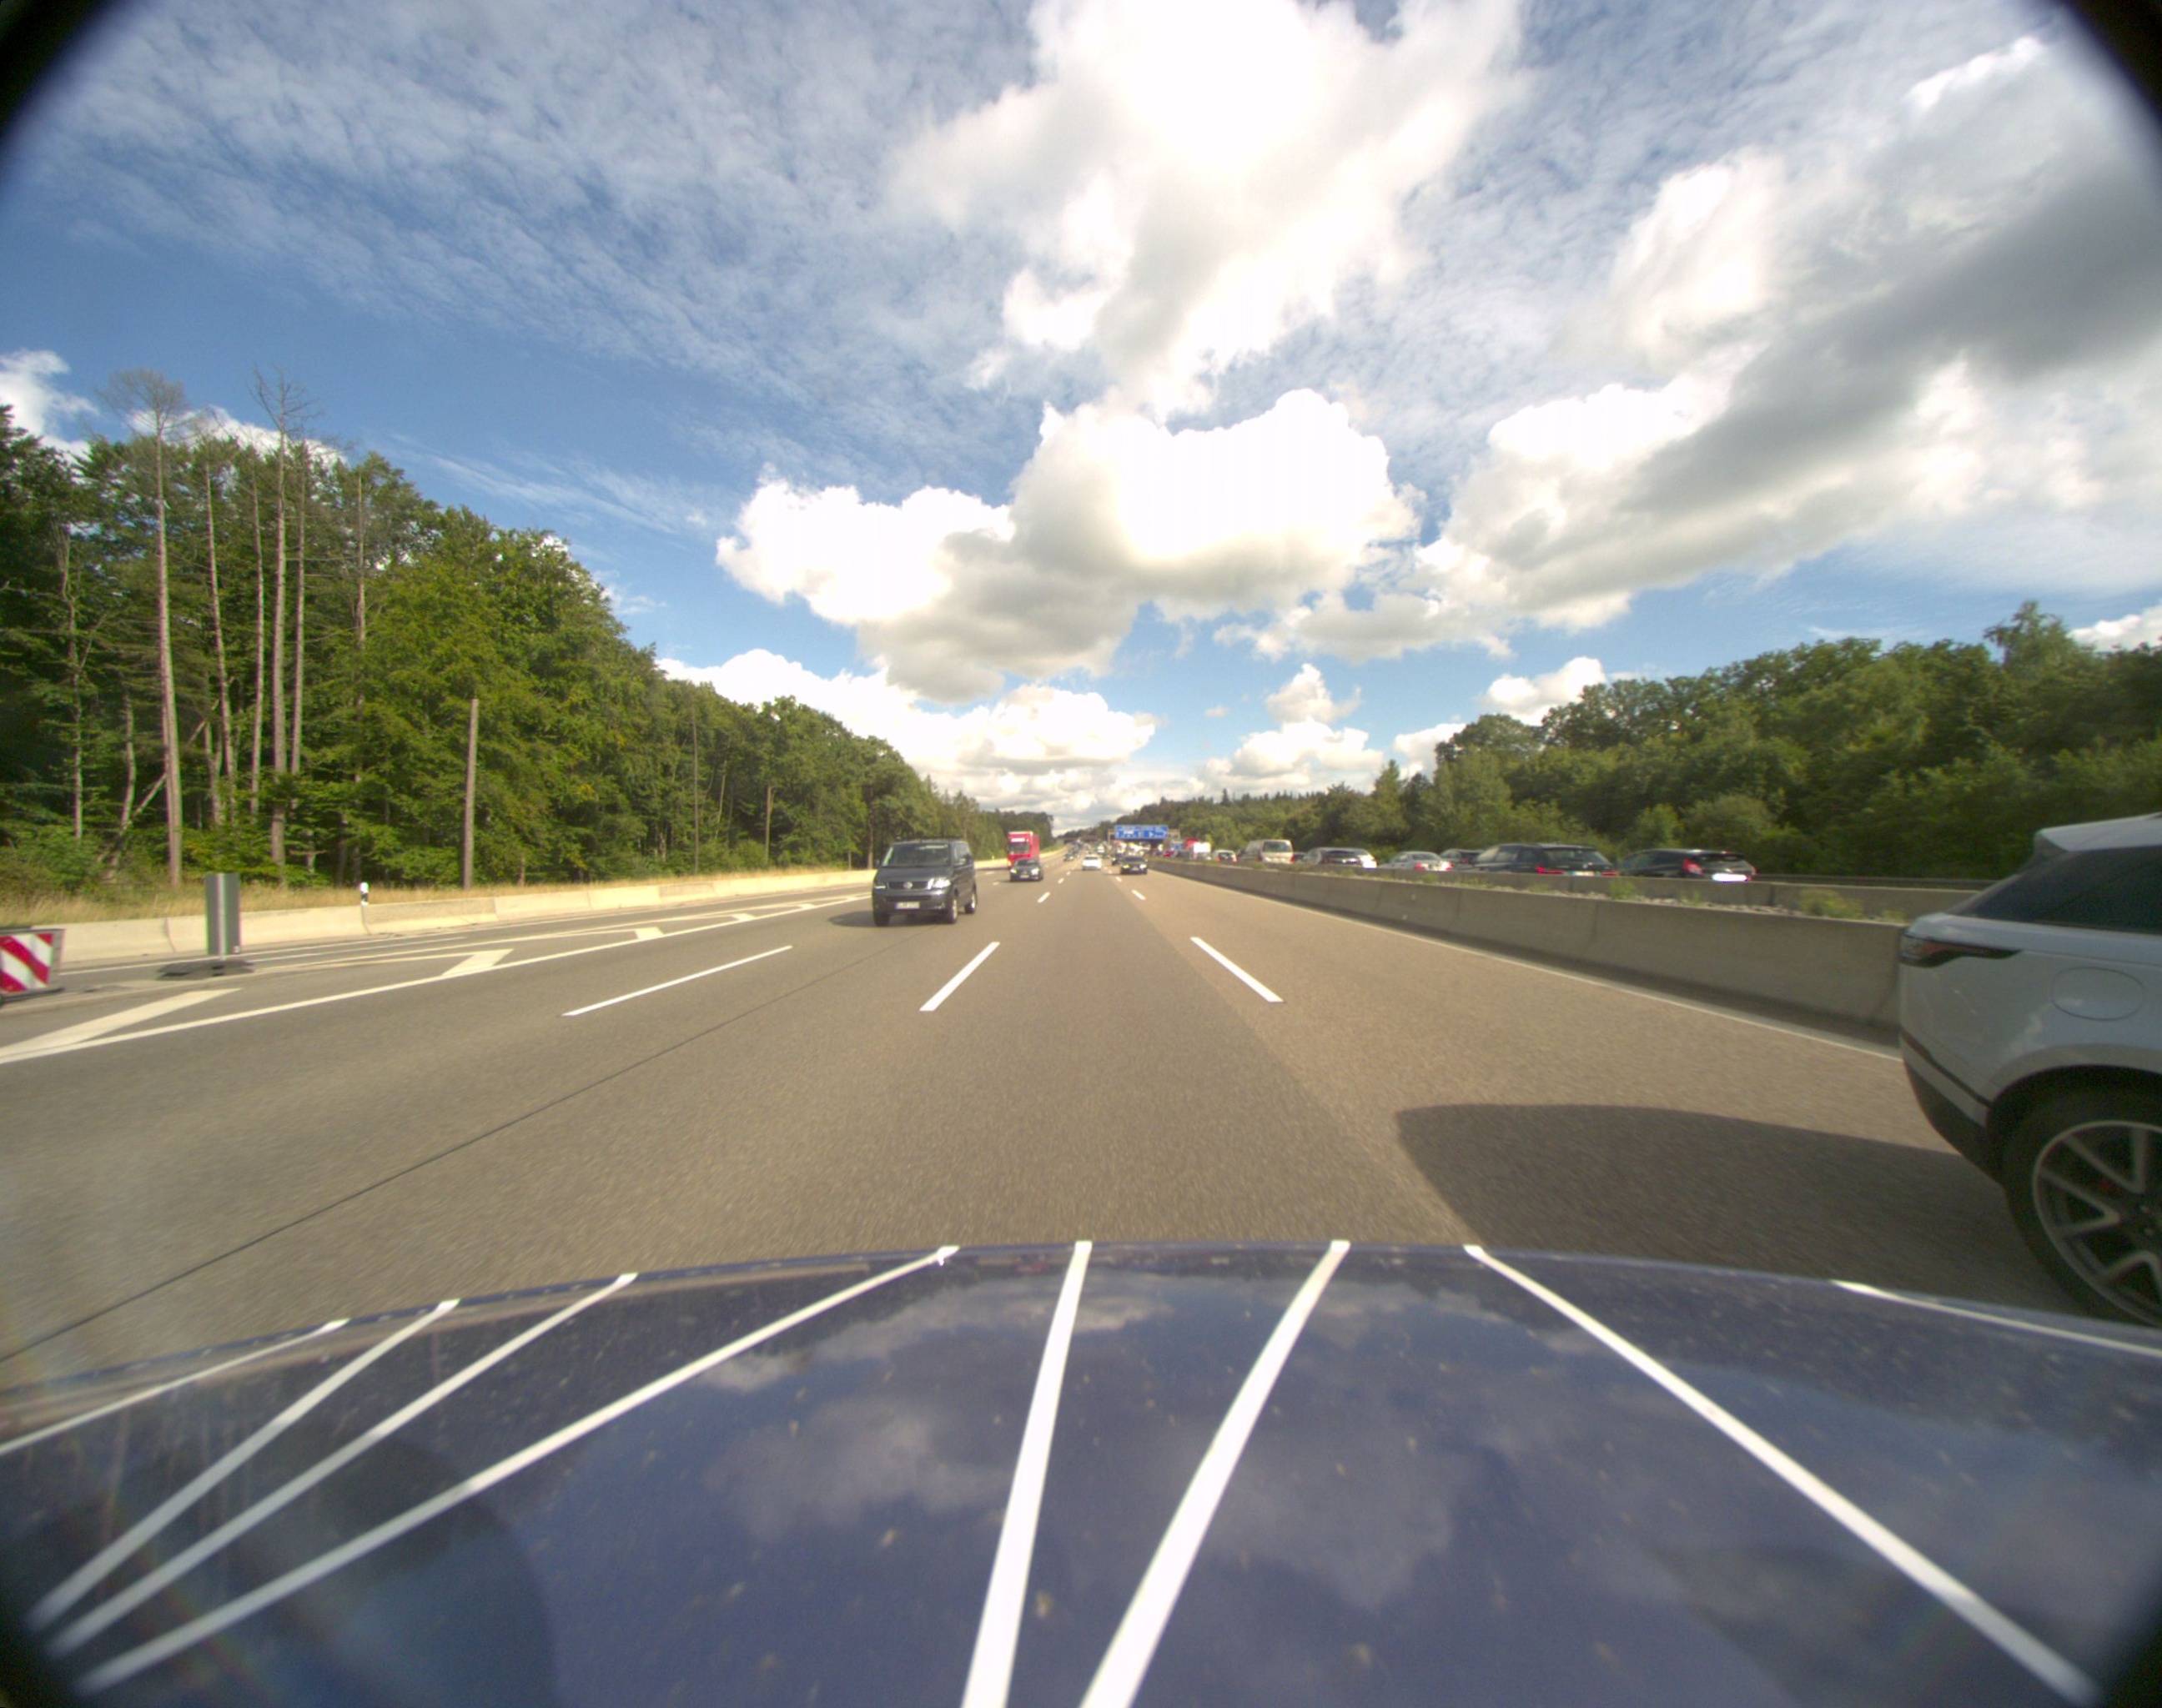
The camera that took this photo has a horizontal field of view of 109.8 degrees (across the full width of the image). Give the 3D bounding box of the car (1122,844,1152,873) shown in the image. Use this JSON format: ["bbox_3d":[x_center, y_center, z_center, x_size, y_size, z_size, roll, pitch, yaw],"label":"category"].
[{"bbox_3d":[4.041,0.291,55.294,1.919,2.002,4.000,-2,1,2],"label":"car"}]

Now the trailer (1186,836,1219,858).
[{"bbox_3d":[19.349,-1.095,121.748,2.735,3.316,14.217,-2,0,0],"label":"trailer"}]

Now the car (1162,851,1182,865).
[{"bbox_3d":[11.079,0.456,92.877,1.841,1.582,4.288,3,1,0],"label":"car"}]

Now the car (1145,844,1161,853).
[{"bbox_3d":[10.760,-0.831,114.061,1.819,1.341,6.231,-3,1,0],"label":"car"}]

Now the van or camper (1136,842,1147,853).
[{"bbox_3d":[16.881,-1.743,211.186,2.397,2.696,6.629,-2,2,1],"label":"van or camper"}]

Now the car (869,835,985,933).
[{"bbox_3d":[-3.734,0.629,19.375,1.927,2.153,4.960,-1,1,0],"label":"car"}]

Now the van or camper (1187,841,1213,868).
[{"bbox_3d":[14.642,-0.003,93.910,2.144,3.154,6.243,-3,1,0],"label":"van or camper"}]

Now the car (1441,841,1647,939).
[{"bbox_3d":[10.070,0.673,17.032,1.998,1.749,4.457,-2,2,2],"label":"car"}]

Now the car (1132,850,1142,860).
[{"bbox_3d":[11.596,0.110,156.443,1.691,1.806,4.294,-2,2,0],"label":"car"}]

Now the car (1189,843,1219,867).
[{"bbox_3d":[10.683,0.083,66.255,1.910,2.002,5.091,-1,0,2],"label":"car"}]

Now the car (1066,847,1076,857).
[{"bbox_3d":[-1.921,-0.400,144.059,1.911,1.582,4.285,-2,2,-2],"label":"car"}]

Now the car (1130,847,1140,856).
[{"bbox_3d":[12.452,-0.577,175.454,1.998,1.733,4.294,-3,1,0],"label":"car"}]

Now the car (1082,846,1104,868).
[{"bbox_3d":[1.143,0.287,71.456,1.998,2.002,4.000,-1,0,2],"label":"car"}]

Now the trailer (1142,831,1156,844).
[{"bbox_3d":[21.059,-5.244,236.829,2.837,3.953,15.999,-2,2,1],"label":"trailer"}]

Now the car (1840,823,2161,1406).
[{"bbox_3d":[3.895,0.731,0.419,1.904,1.598,5.104,-2,1,1],"label":"car"}]

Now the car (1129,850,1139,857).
[{"bbox_3d":[11.231,-0.124,160.272,1.761,1.369,3.999,-1,0,0],"label":"car"}]

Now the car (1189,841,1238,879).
[{"bbox_3d":[7.103,0.311,41.194,1.998,1.909,4.000,-2,0,2],"label":"car"}]

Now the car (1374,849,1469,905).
[{"bbox_3d":[13.897,0.874,31.325,1.998,2.002,4.458,-2,1,2],"label":"car"}]

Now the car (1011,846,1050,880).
[{"bbox_3d":[-3.095,0.544,47.009,1.998,2.002,4.000,0,0,2],"label":"car"}]

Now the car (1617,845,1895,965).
[{"bbox_3d":[13.849,0.910,16.057,1.998,2.002,4.457,-2,2,2],"label":"car"}]

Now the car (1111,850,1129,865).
[{"bbox_3d":[4.719,0.397,92.212,1.911,1.582,4.286,-2,2,1],"label":"car"}]

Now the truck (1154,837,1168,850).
[{"bbox_3d":[19.369,-2.532,184.263,2.334,2.785,7.948,-3,1,0],"label":"truck"}]

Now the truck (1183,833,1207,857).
[{"bbox_3d":[19.276,-1.525,128.679,2.783,3.915,6.852,-2,1,0],"label":"truck"}]

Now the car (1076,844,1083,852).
[{"bbox_3d":[-0.419,-1.536,197.128,1.804,1.865,3.950,-1,1,1],"label":"car"}]

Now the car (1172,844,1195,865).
[{"bbox_3d":[10.465,0.052,77.838,1.887,2.002,4.519,-1,0,2],"label":"car"}]

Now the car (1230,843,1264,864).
[{"bbox_3d":[14.215,-0.068,65.401,1.998,1.587,4.523,-2,2,2],"label":"car"}]

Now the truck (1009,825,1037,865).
[{"bbox_3d":[-6.320,-1.009,82.780,2.532,4.179,4.652,-2,2,1],"label":"truck"}]

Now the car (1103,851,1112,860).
[{"bbox_3d":[5.634,0.244,159.456,1.804,1.783,3.757,-1,1,1],"label":"car"}]

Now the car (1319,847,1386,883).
[{"bbox_3d":[14.346,0.524,40.459,1.998,1.723,4.762,-2,0,2],"label":"car"}]

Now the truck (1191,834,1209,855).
[{"bbox_3d":[24.600,-1.938,157.303,2.818,4.127,5.450,-2,2,0],"label":"truck"}]

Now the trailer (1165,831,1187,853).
[{"bbox_3d":[19.685,-2.587,158.333,2.778,4.211,13.654,-2,2,0],"label":"trailer"}]

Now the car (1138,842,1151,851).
[{"bbox_3d":[11.352,-1.323,135.894,1.854,1.347,5.486,-2,2,0],"label":"car"}]

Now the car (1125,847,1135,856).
[{"bbox_3d":[11.252,-0.534,173.763,1.998,2.002,4.408,-1,2,1],"label":"car"}]

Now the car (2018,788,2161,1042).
[{"bbox_3d":[9.386,0.501,4.662,1.821,2.002,4.451,-2,2,2],"label":"car"}]

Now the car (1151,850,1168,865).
[{"bbox_3d":[10.791,0.475,104.637,1.691,1.806,4.294,-2,2,0],"label":"car"}]

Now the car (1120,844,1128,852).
[{"bbox_3d":[13.081,-1.805,230.179,1.998,2.088,5.276,-2,2,1],"label":"car"}]

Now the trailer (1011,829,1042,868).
[{"bbox_3d":[-6.279,-0.796,89.760,2.531,4.096,14.372,-2,2,0],"label":"trailer"}]

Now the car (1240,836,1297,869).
[{"bbox_3d":[10.027,-0.092,41.062,1.998,1.563,4.815,-2,0,2],"label":"car"}]

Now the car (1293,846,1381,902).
[{"bbox_3d":[9.958,0.702,29.934,1.998,1.894,4.458,-3,1,2],"label":"car"}]
